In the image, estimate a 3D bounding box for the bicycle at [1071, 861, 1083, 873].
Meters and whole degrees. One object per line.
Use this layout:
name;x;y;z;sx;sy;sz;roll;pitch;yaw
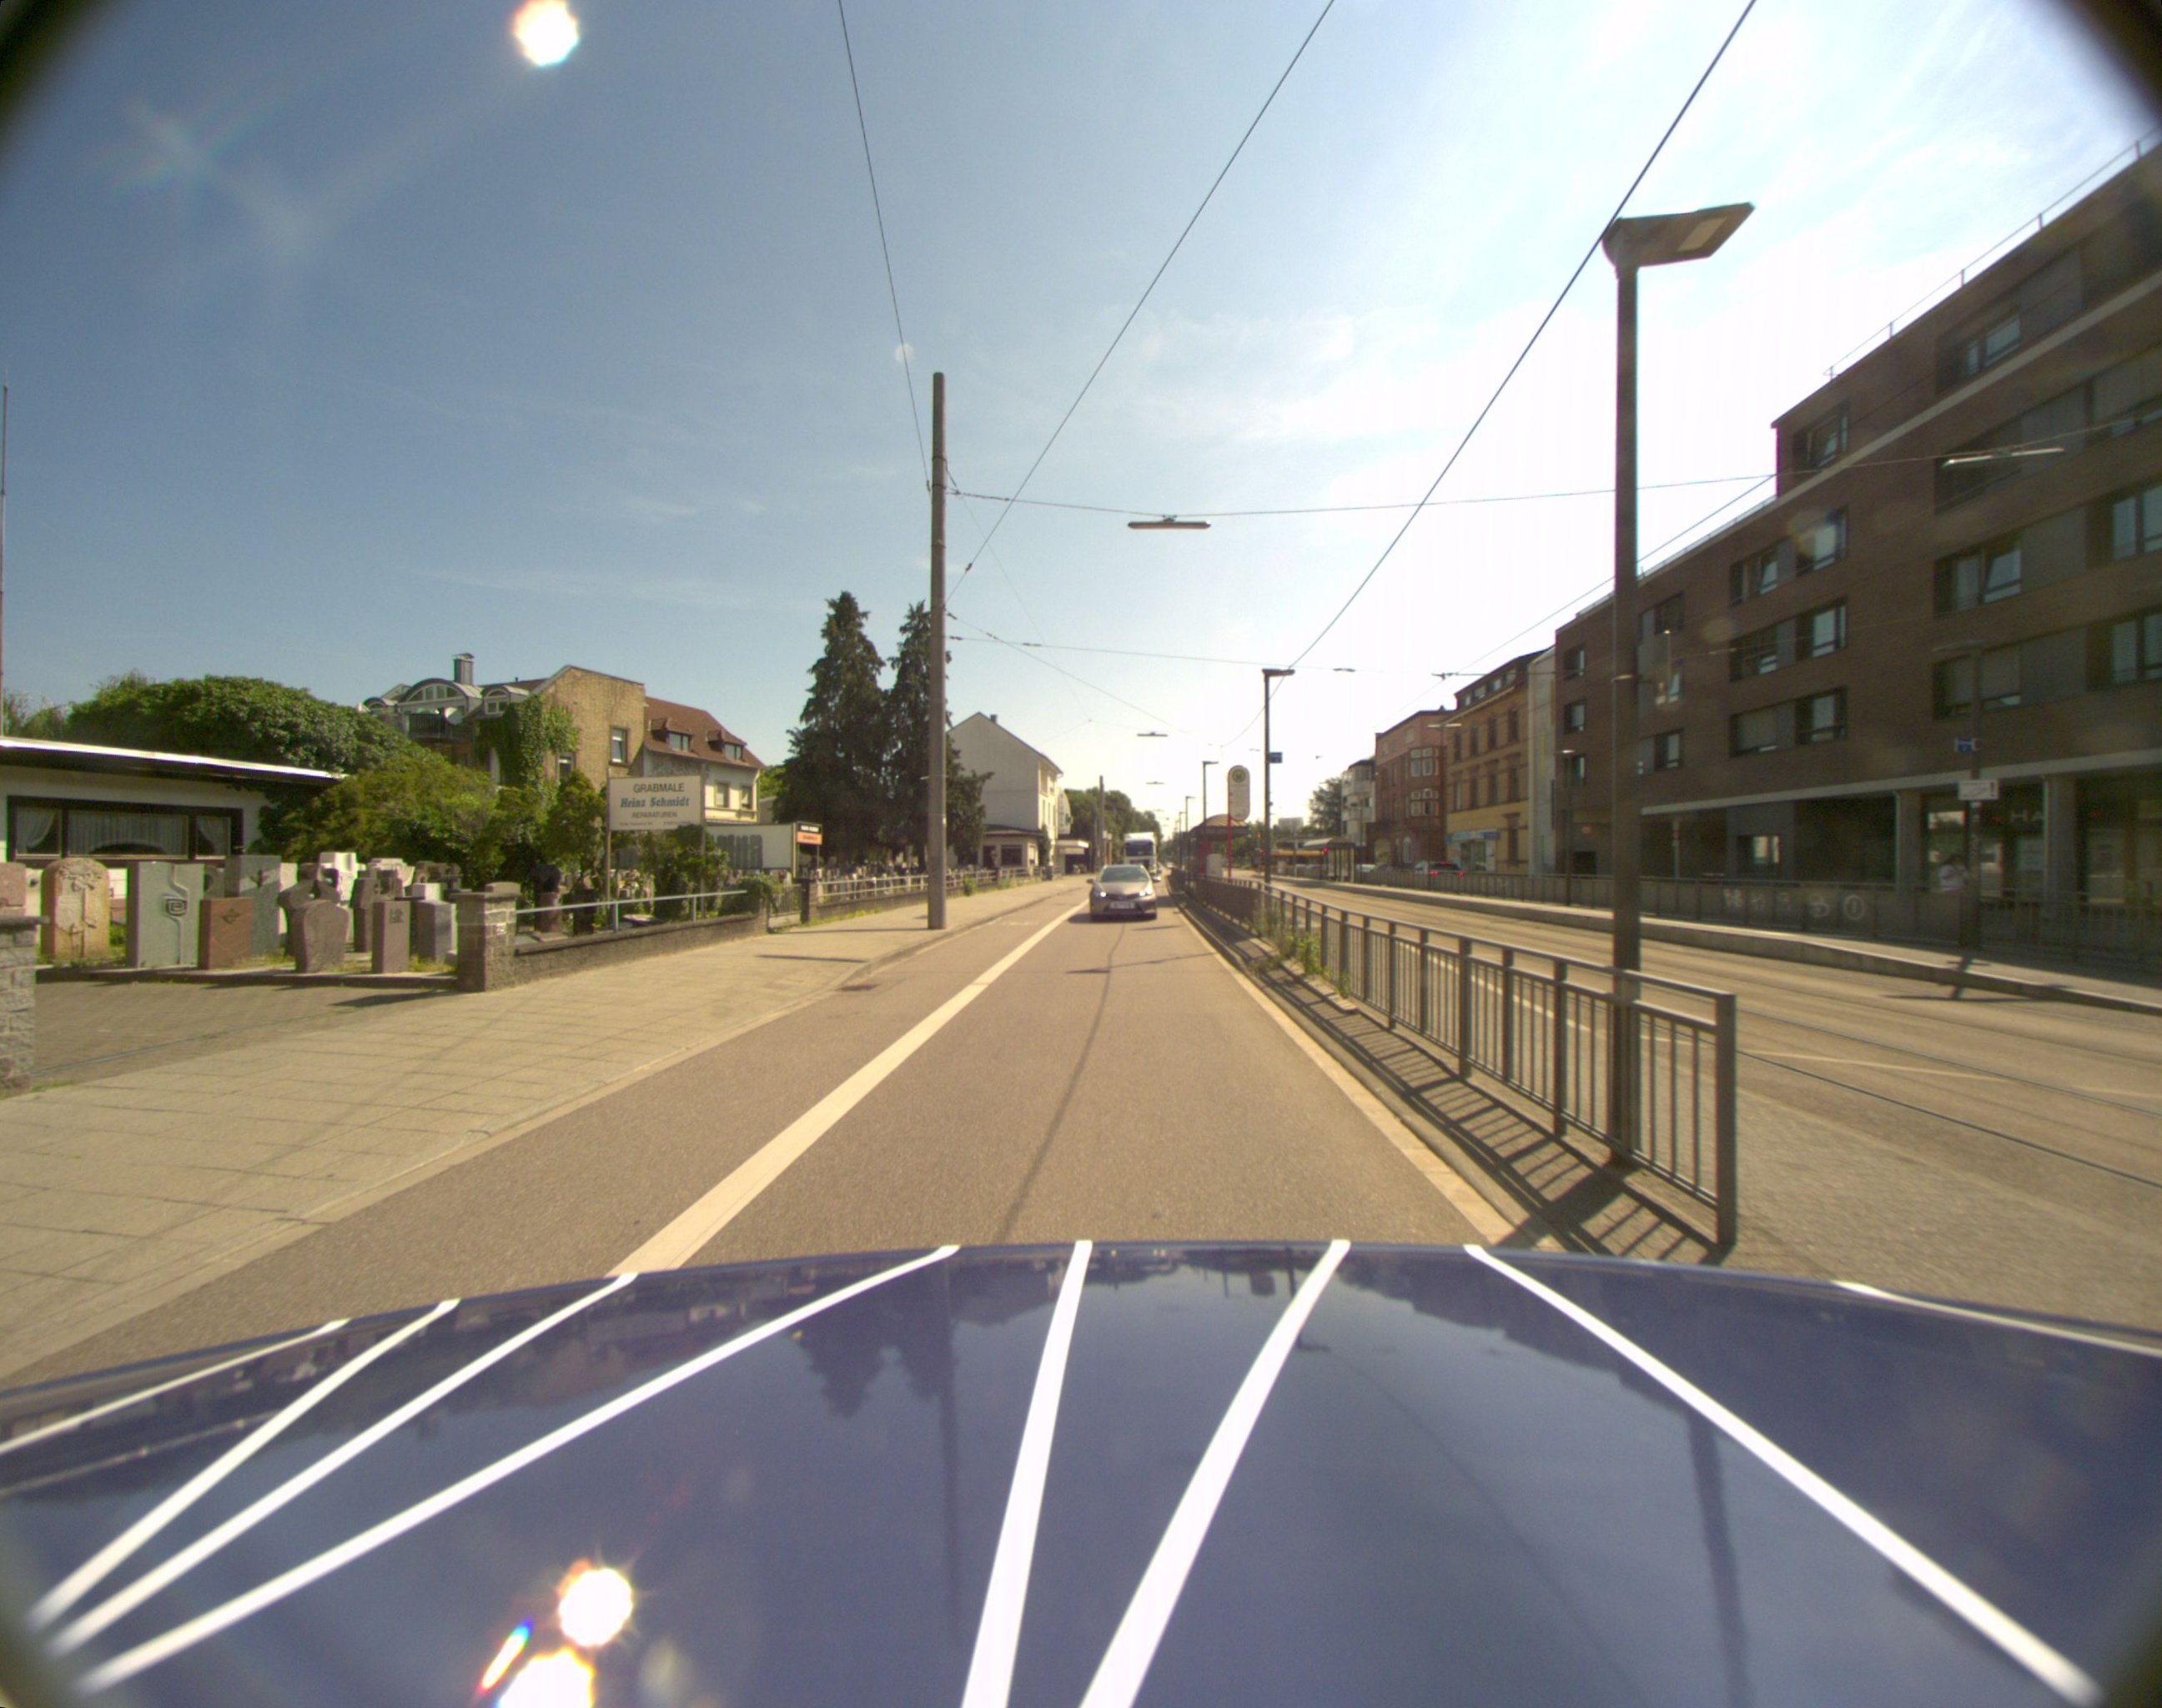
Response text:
bicycle;-0.372;1.250;74.015;0.511;1.127;1.693;0;0;23

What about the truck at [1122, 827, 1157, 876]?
truck;4.988;-0.180;63.271;2.656;3.772;7.867;0;0;6

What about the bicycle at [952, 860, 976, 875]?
bicycle;-8.801;0.989;57.222;1.688;1.104;0.512;1;0;8

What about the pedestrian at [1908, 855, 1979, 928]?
pedestrian;21.877;0.937;19.293;0.846;1.808;0.839;0;0;6

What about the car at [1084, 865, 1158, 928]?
car;1.160;1.040;20.187;1.694;1.440;4.483;-1;0;6

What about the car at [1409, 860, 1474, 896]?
car;18.812;1.219;39.855;1.804;1.718;4.191;-2;-1;6

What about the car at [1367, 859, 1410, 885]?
car;20.113;1.180;49.816;1.715;1.613;3.580;-1;0;6

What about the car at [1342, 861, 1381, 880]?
car;21.098;1.221;57.280;1.635;1.355;4.523;0;0;5

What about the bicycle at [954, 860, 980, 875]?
bicycle;-8.419;0.989;56.121;1.795;1.104;0.513;1;0;10

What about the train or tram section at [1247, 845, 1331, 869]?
train or tram section;32.053;0.441;116.668;13.351;3.460;2.684;0;0;-20

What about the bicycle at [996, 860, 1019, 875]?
bicycle;-5.430;1.011;56.387;1.686;1.104;0.515;1;0;31

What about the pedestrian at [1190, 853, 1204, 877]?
pedestrian;9.140;0.884;59.909;0.983;1.847;1.238;0;0;6

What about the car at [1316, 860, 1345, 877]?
car;21.606;1.243;65.822;1.629;1.460;3.868;0;-1;6

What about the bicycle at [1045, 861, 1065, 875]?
bicycle;-2.164;1.150;62.931;1.529;1.051;0.398;3;1;7

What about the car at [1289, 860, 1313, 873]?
car;23.358;1.313;80.818;1.715;1.236;4.081;-2;0;6
